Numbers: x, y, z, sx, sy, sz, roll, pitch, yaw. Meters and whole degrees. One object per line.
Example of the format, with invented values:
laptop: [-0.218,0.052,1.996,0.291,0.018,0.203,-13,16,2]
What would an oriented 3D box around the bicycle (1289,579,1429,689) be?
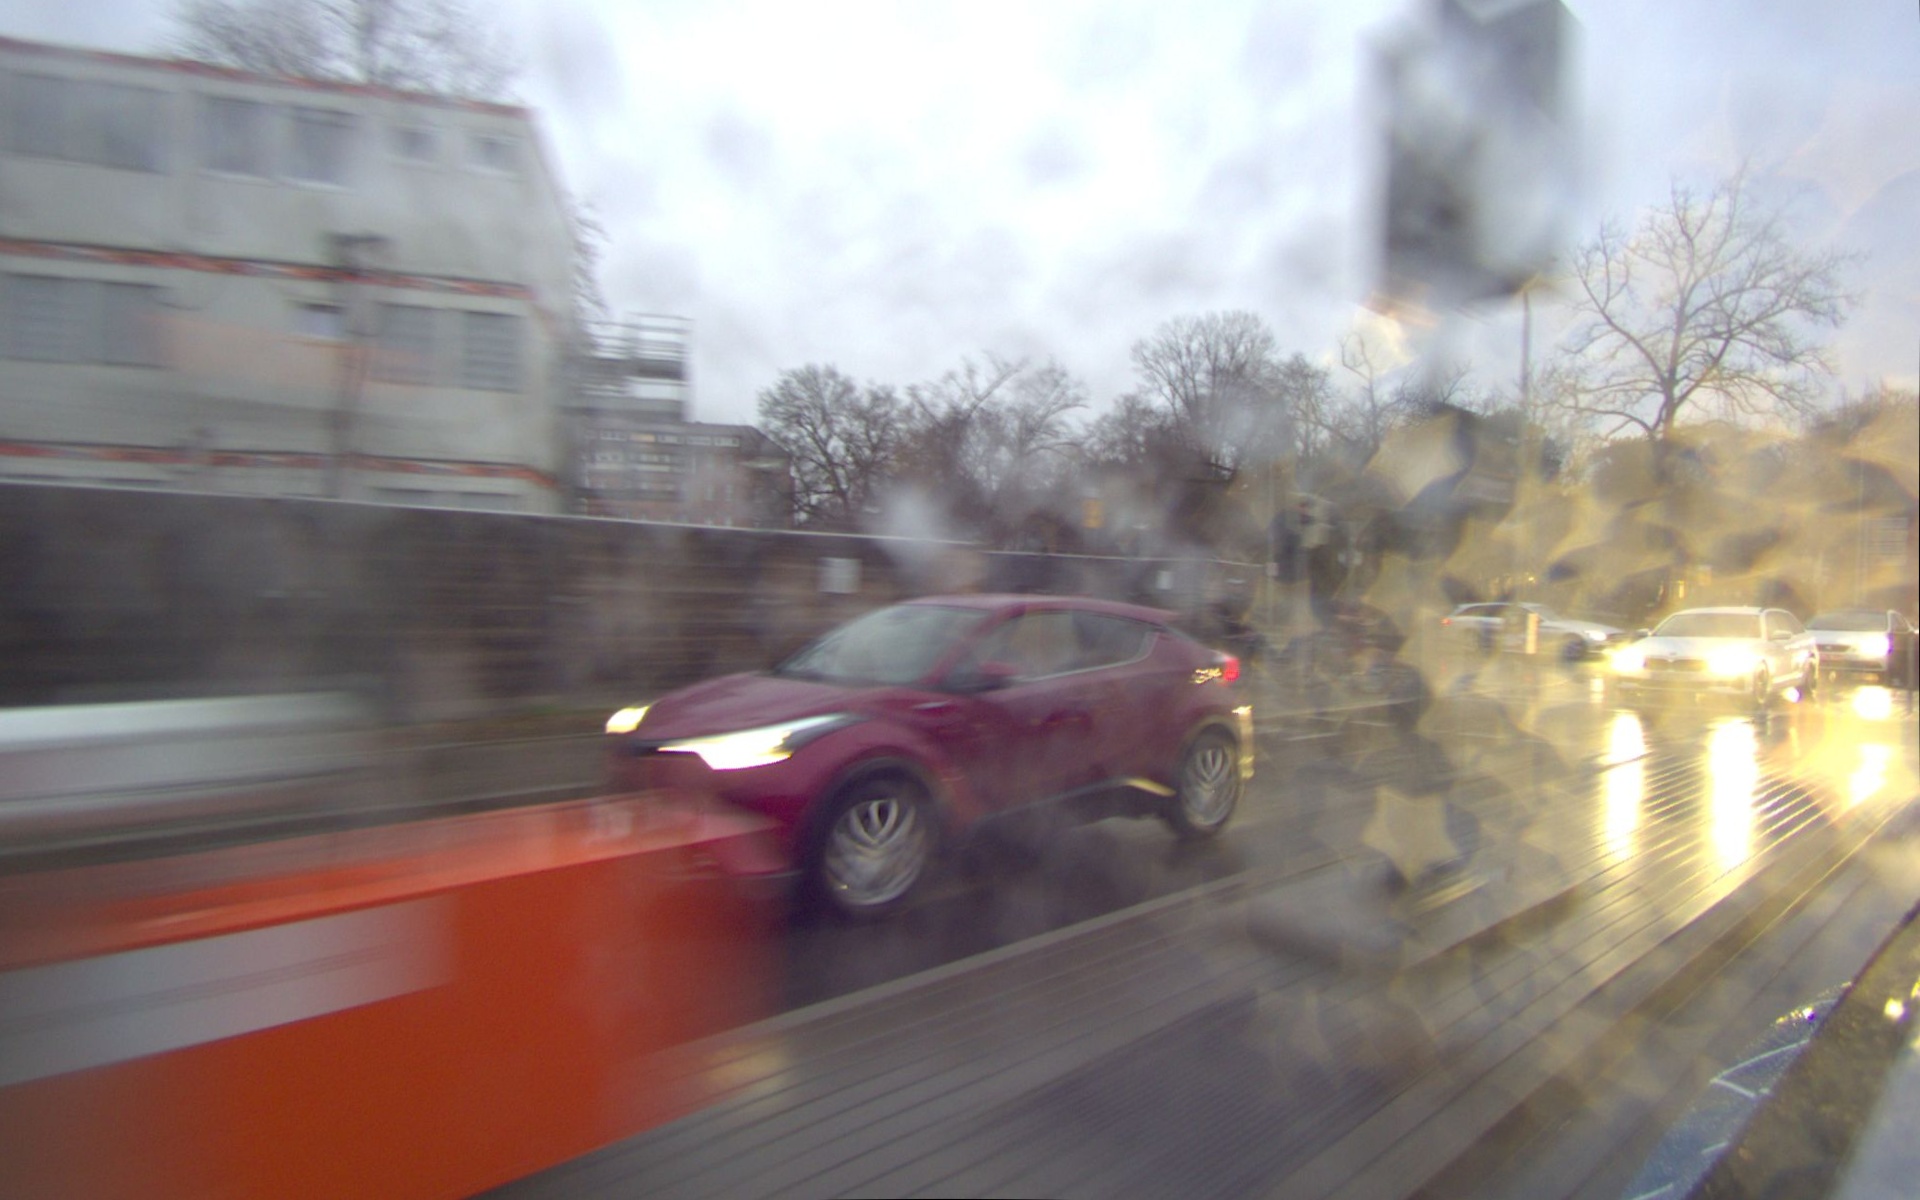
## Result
bicycle: [6.536,0.523,16.716,0.676,1.678,2.250,-1,0,-27]

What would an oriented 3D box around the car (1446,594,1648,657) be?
car: [16.190,0.645,28.150,1.845,1.507,4.521,0,1,-32]

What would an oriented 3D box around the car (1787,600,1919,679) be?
car: [19.698,0.788,21.959,3.965,1.479,1.779,-1,2,-36]

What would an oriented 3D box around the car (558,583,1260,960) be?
car: [-0.085,0.667,5.996,3.930,1.498,1.725,-1,0,-41]

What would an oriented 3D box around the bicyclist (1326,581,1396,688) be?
bicyclist: [6.596,0.546,16.668,0.683,1.700,0.819,0,1,-26]

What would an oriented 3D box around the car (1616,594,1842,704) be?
car: [12.727,0.684,16.629,4.877,1.520,1.791,-1,1,-38]
